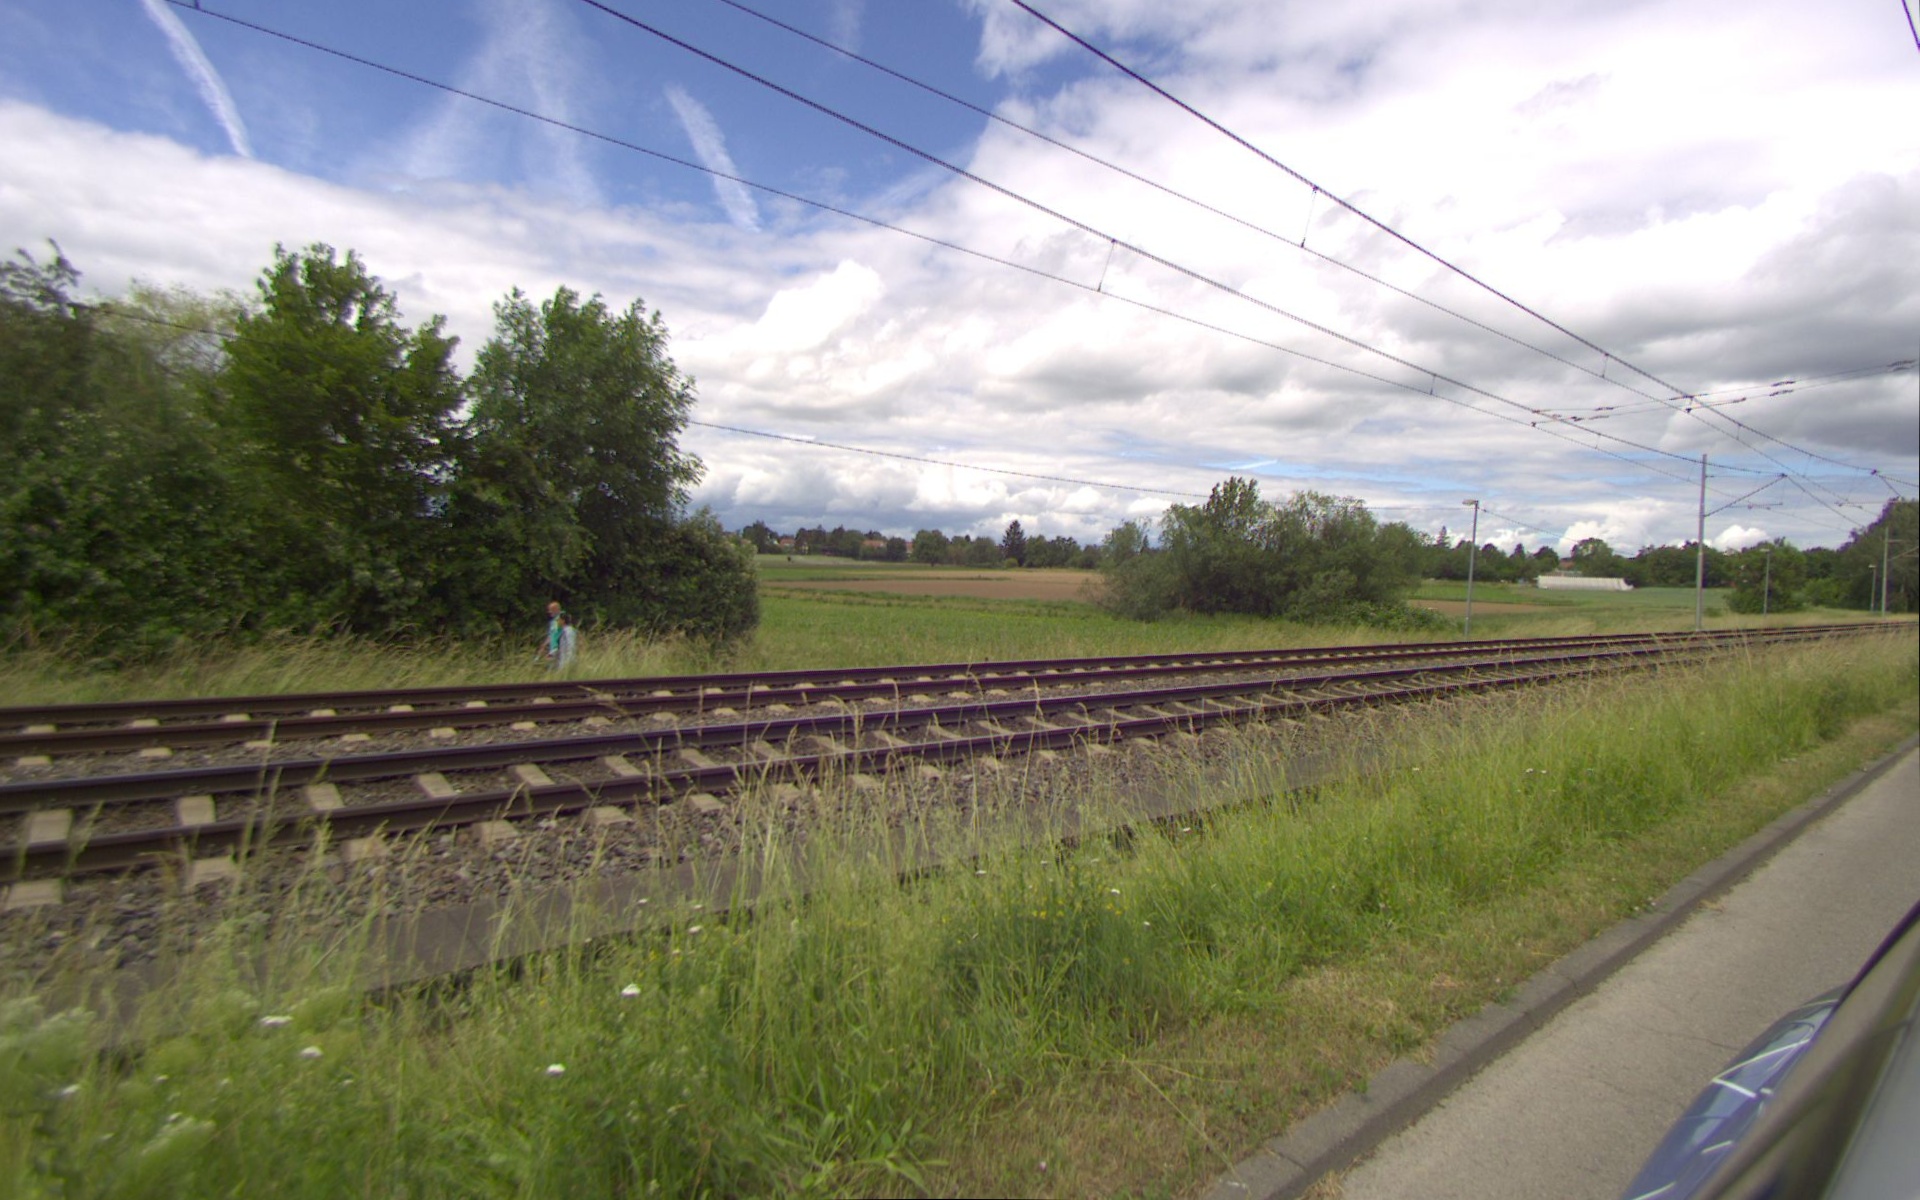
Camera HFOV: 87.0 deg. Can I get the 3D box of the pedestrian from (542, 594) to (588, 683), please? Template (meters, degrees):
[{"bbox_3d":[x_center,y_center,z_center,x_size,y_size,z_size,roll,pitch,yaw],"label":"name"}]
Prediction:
[{"bbox_3d":[-6.569,0.625,16.856,0.652,1.448,0.601,1,0,-18],"label":"pedestrian"}]

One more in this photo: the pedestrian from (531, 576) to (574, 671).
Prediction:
[{"bbox_3d":[-7.222,0.400,17.923,0.573,1.643,0.618,1,0,-34],"label":"pedestrian"}]
